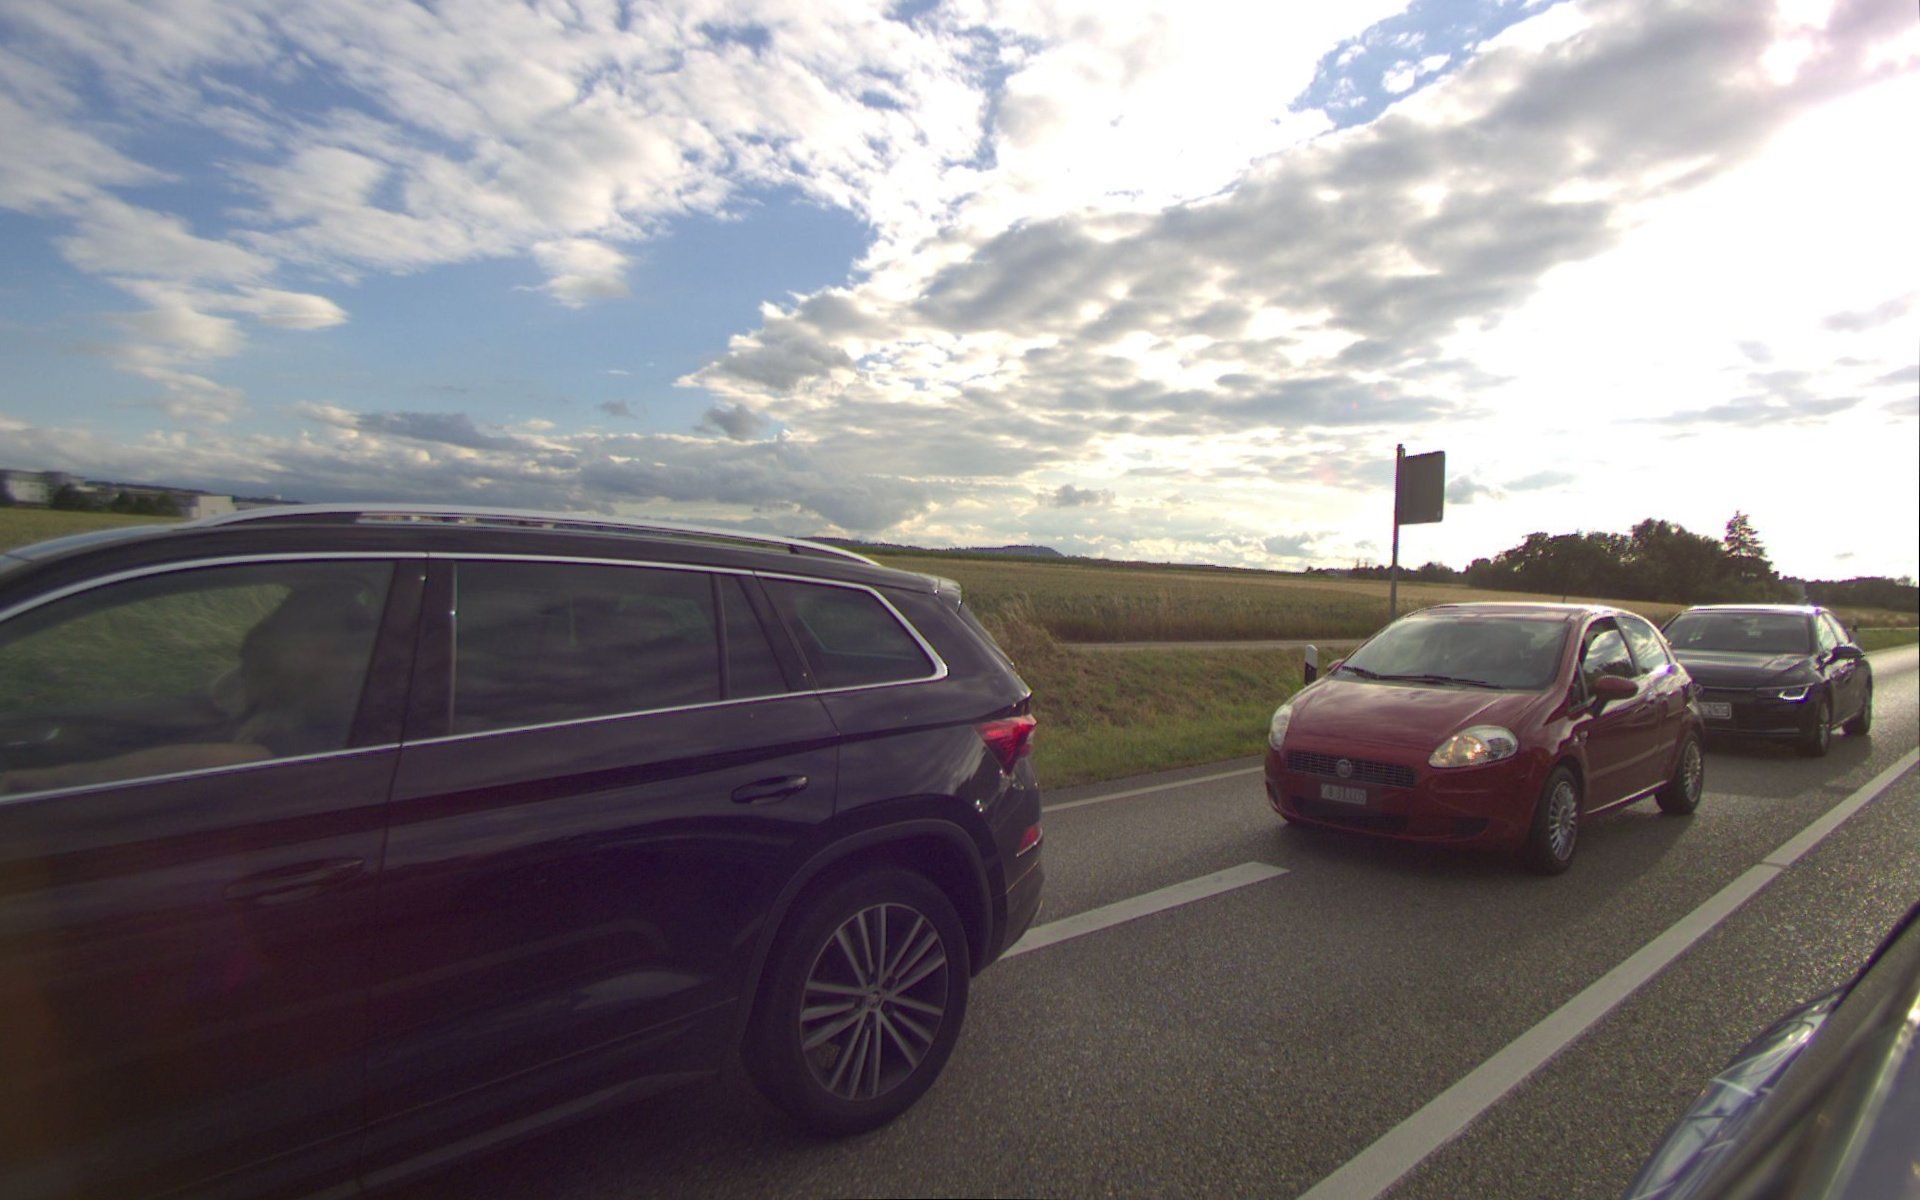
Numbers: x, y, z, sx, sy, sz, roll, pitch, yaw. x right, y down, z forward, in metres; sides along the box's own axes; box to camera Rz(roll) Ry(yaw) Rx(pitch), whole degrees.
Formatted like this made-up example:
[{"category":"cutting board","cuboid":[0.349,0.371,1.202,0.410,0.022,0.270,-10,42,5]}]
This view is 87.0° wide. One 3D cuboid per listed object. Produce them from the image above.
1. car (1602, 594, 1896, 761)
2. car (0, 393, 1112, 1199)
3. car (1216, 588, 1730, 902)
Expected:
[{"category":"car","cuboid":[8.704,0.687,11.053,3.962,1.475,1.797,0,0,-41]},{"category":"car","cuboid":[-1.790,0.535,2.556,4.477,1.730,1.839,-1,0,-41]},{"category":"car","cuboid":[3.551,0.671,6.704,3.840,1.475,1.710,-1,0,-41]}]
